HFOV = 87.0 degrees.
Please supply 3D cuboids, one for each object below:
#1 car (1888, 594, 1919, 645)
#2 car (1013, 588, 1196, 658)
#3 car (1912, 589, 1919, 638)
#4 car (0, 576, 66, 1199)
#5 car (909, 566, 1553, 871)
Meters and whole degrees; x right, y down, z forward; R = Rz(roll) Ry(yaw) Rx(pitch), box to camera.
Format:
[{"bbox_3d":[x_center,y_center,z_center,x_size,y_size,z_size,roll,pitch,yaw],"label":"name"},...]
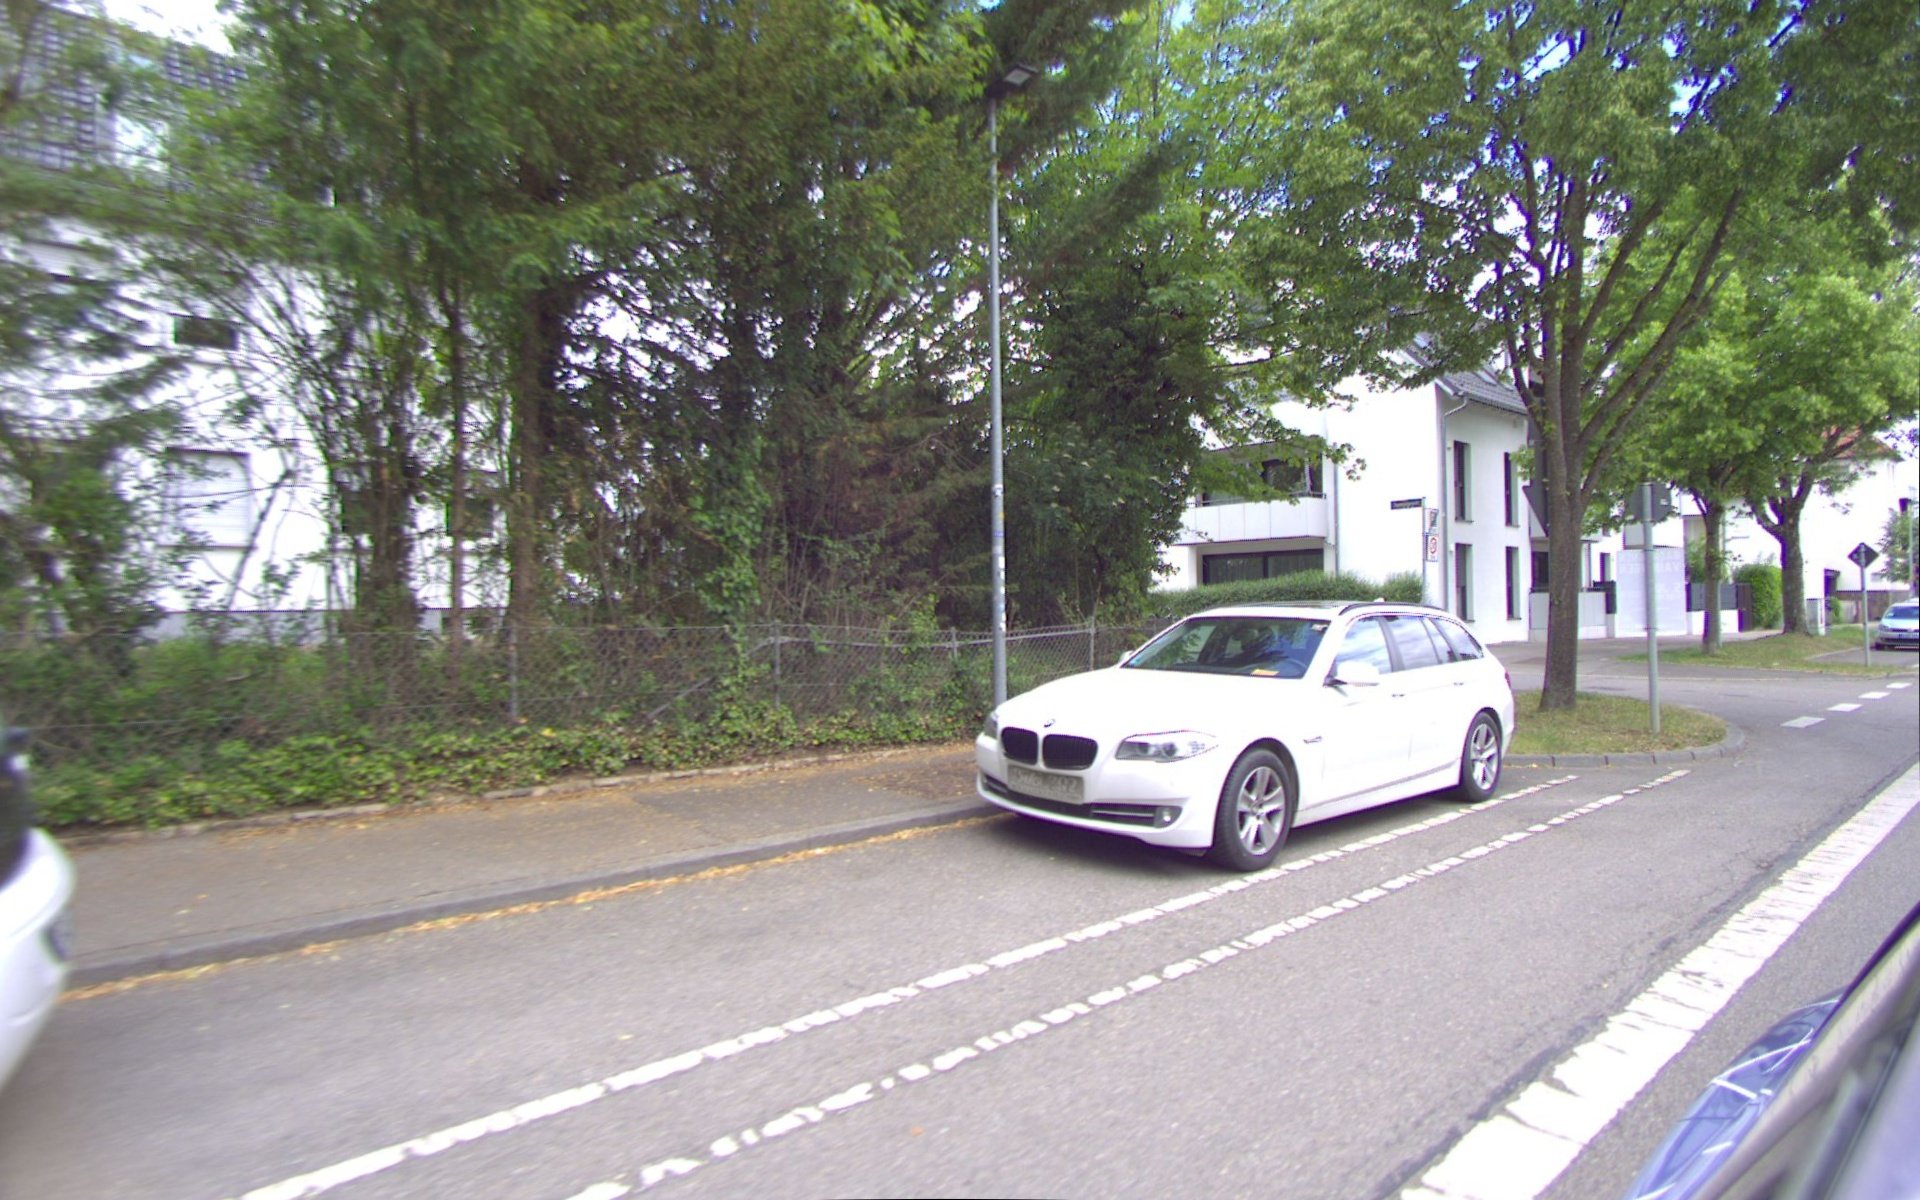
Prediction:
[{"bbox_3d":[30.188,0.566,31.345,4.154,1.512,1.690,0,0,-41],"label":"car"},{"bbox_3d":[3.272,0.491,23.459,1.763,1.478,3.990,1,-1,-44],"label":"car"},{"bbox_3d":[34.911,0.466,35.655,3.583,1.686,1.635,0,0,-41],"label":"car"},{"bbox_3d":[-3.953,0.683,1.730,3.593,1.478,1.618,0,0,-41],"label":"car"},{"bbox_3d":[2.200,0.567,7.248,4.936,1.462,2.024,0,0,-40],"label":"car"}]
